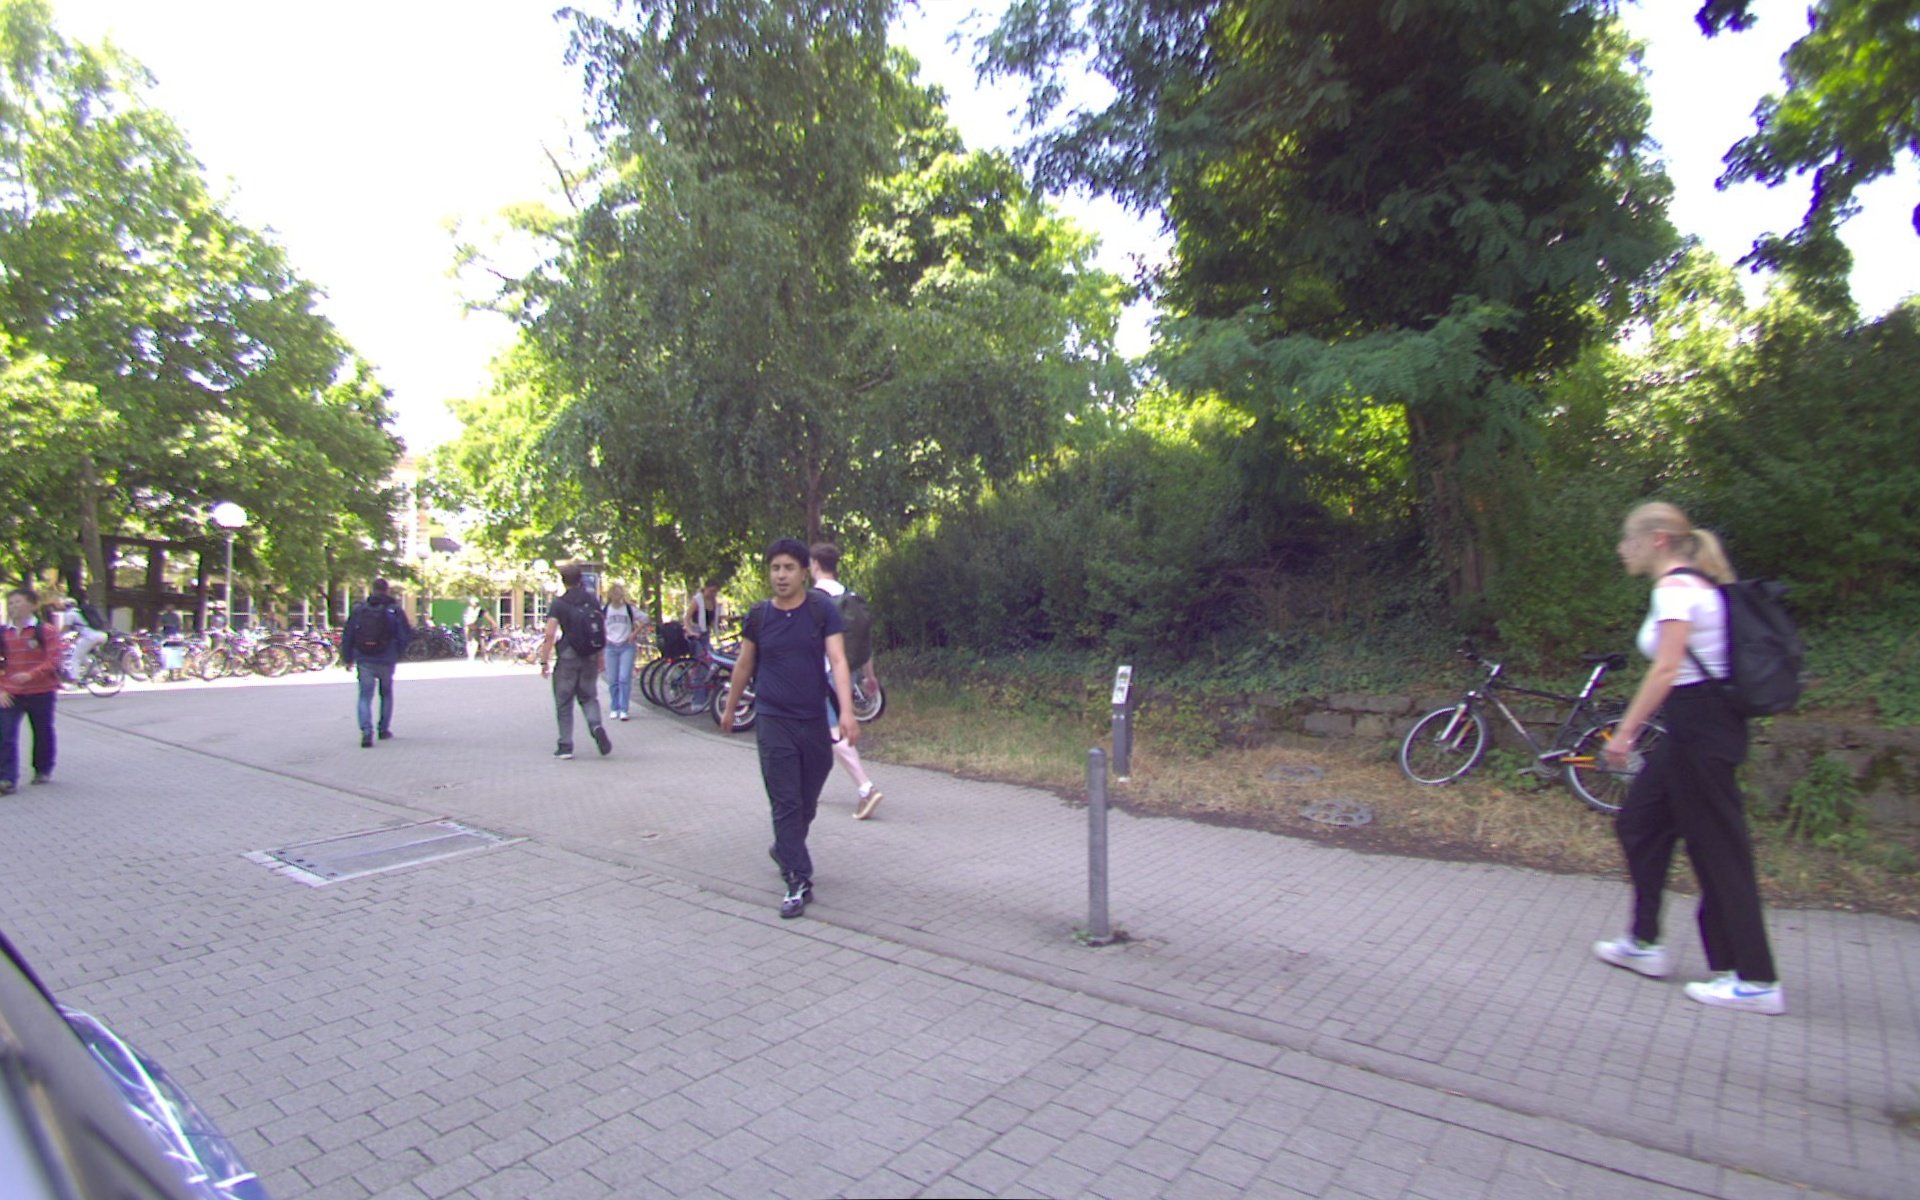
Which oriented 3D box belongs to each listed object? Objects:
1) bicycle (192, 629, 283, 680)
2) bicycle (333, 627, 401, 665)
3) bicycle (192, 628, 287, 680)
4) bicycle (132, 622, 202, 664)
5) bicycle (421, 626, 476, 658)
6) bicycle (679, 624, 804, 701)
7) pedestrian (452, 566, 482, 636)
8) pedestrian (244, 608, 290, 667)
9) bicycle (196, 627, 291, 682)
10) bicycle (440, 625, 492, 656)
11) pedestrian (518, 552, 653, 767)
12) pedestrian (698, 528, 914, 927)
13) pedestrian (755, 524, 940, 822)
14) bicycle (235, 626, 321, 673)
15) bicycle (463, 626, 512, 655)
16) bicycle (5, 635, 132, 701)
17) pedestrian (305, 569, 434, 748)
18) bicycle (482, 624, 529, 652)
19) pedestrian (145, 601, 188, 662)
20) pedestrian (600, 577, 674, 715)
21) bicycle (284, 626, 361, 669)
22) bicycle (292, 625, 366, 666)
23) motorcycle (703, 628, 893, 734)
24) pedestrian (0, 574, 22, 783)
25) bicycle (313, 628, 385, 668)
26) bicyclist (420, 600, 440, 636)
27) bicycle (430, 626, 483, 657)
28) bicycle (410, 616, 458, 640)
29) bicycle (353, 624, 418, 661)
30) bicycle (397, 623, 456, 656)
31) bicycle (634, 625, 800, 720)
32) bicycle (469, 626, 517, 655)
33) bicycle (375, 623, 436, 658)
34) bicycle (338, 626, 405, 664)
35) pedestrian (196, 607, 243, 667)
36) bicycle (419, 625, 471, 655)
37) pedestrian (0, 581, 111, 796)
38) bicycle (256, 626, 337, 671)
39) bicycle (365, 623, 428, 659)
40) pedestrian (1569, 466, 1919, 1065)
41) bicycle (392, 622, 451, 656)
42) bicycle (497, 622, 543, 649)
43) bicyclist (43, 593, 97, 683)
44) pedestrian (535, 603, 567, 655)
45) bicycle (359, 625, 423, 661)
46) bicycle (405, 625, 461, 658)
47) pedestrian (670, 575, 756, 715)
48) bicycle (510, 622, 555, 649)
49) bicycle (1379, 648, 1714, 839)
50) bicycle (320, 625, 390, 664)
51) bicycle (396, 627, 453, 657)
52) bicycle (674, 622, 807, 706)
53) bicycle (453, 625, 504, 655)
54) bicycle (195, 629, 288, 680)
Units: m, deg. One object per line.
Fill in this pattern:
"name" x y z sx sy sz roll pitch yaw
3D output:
"bicycle" -16.568 1.231 23.237 1.671 1.092 0.475 0 -1 -32
"bicycle" -17.532 1.344 29.942 1.671 1.092 0.475 0 -1 -16
"bicycle" -15.890 1.176 22.357 1.696 1.092 0.475 0 -1 -36
"bicycle" -23.848 1.285 30.452 1.675 1.209 0.576 -1 -1 0
"bicycle" -17.978 1.478 35.578 1.676 1.092 0.474 -1 -1 0
"bicycle" -3.081 0.875 14.351 1.675 1.055 0.474 -1 -1 -1
"pedestrian" -13.355 0.032 27.426 0.603 1.849 1.053 0 -1 -20
"pedestrian" -20.586 1.097 30.070 0.892 1.716 0.771 -1 -1 -9
"bicycle" -15.553 1.159 21.984 1.672 1.118 0.475 0 -1 -39
"bicycle" -18.046 1.468 36.987 1.676 1.092 0.474 -1 -1 0
"pedestrian" -3.519 0.529 9.494 1.118 1.887 0.676 -1 -1 35
"pedestrian" -0.774 0.557 4.973 0.675 1.737 0.906 -1 -1 -38
"pedestrian" -0.783 0.465 7.046 1.080 1.895 0.718 -1 -1 35
"bicycle" -16.473 1.190 24.466 1.672 1.092 0.475 0 -1 -9
"bicycle" -18.101 1.549 38.797 1.676 1.092 0.474 -1 -1 0
"bicycle" -15.880 1.186 18.071 1.673 1.092 0.605 0 -1 -41
"pedestrian" -6.484 0.617 11.173 0.874 1.872 1.034 -1 -1 -6
"bicycle" -18.113 1.516 40.316 1.676 1.092 0.474 -1 -1 0
"pedestrian" -24.148 0.954 30.818 0.701 1.820 0.768 -1 -1 6
"pedestrian" -4.173 0.593 13.099 0.722 1.737 0.685 -1 -2 3
"bicycle" -16.838 1.250 26.745 1.671 1.092 0.475 0 -1 -13
"bicycle" -17.229 1.232 27.661 1.671 1.092 0.475 0 -1 -16
"motorcycle" -1.777 0.872 11.177 1.994 1.055 0.475 -2 -1 -8
"pedestrian" -8.803 0.691 8.720 0.674 1.849 0.944 0 -2 -17
"bicycle" -17.333 1.342 28.739 1.671 1.092 0.475 0 -1 -16
"bicyclist" -28.401 0.946 54.264 0.852 1.906 0.808 0 0 -23
"bicycle" -18.086 1.484 36.392 1.676 1.092 0.474 -1 -1 0
"bicycle" -24.171 1.289 46.515 2.006 1.116 0.502 -1 -1 7
"bicycle" -17.570 1.285 30.990 1.671 1.092 0.475 0 -1 -16
"bicycle" -17.878 1.320 33.920 1.672 1.092 0.475 0 -1 -8
"bicycle" -2.965 0.876 12.433 1.881 1.055 0.542 -2 -1 -1
"bicycle" -18.107 1.555 39.257 1.676 1.092 0.474 -1 -1 0
"bicycle" -17.846 1.307 32.613 1.671 1.092 0.475 0 -1 -16
"bicycle" -17.676 1.345 30.402 1.671 1.092 0.475 0 -1 -16
"pedestrian" -21.685 1.066 29.666 0.892 1.716 0.772 -1 -1 -14
"bicycle" -19.192 1.484 37.721 1.676 1.092 0.474 -1 -1 0
"pedestrian" -8.017 0.737 8.715 0.707 1.737 1.068 0 -2 -18
"bicycle" -16.756 1.224 25.576 1.672 1.092 0.475 0 -1 -9
"bicycle" -17.798 1.291 32.002 1.671 1.092 0.475 0 -1 -16
"pedestrian" 2.675 0.482 3.431 1.000 1.741 0.677 -1 0 35
"bicycle" -17.766 1.287 33.397 1.672 1.092 0.475 0 -1 -8
"bicycle" -17.980 1.445 41.330 1.676 1.092 0.474 -1 -1 0
"bicyclist" -15.892 0.666 18.080 0.710 1.580 0.596 0 -1 -41
"pedestrian" -14.621 1.034 36.164 0.822 1.829 0.883 -1 -1 -3
"bicycle" -17.686 1.323 31.504 1.671 1.092 0.475 0 -1 -16
"bicycle" -18.249 1.437 35.047 1.676 1.092 0.474 -1 -1 0
"pedestrian" -3.165 0.577 13.025 0.925 1.737 0.677 -1 -2 3
"bicycle" -17.884 1.489 42.329 1.676 1.092 0.474 -1 -1 0
"bicycle" 3.459 0.791 6.138 0.416 0.917 1.744 0 0 -36
"bicycle" -17.454 1.275 29.233 1.671 1.092 0.475 0 -1 -16
"bicycle" -18.285 1.426 34.552 1.716 0.969 0.452 -1 -1 0
"bicycle" -2.960 0.855 13.727 1.675 1.055 0.474 -2 0 -1
"bicycle" -18.108 1.508 38.080 1.676 1.092 0.474 -1 -1 0
"bicycle" -16.192 1.211 22.847 1.671 1.092 0.475 0 -1 -32
